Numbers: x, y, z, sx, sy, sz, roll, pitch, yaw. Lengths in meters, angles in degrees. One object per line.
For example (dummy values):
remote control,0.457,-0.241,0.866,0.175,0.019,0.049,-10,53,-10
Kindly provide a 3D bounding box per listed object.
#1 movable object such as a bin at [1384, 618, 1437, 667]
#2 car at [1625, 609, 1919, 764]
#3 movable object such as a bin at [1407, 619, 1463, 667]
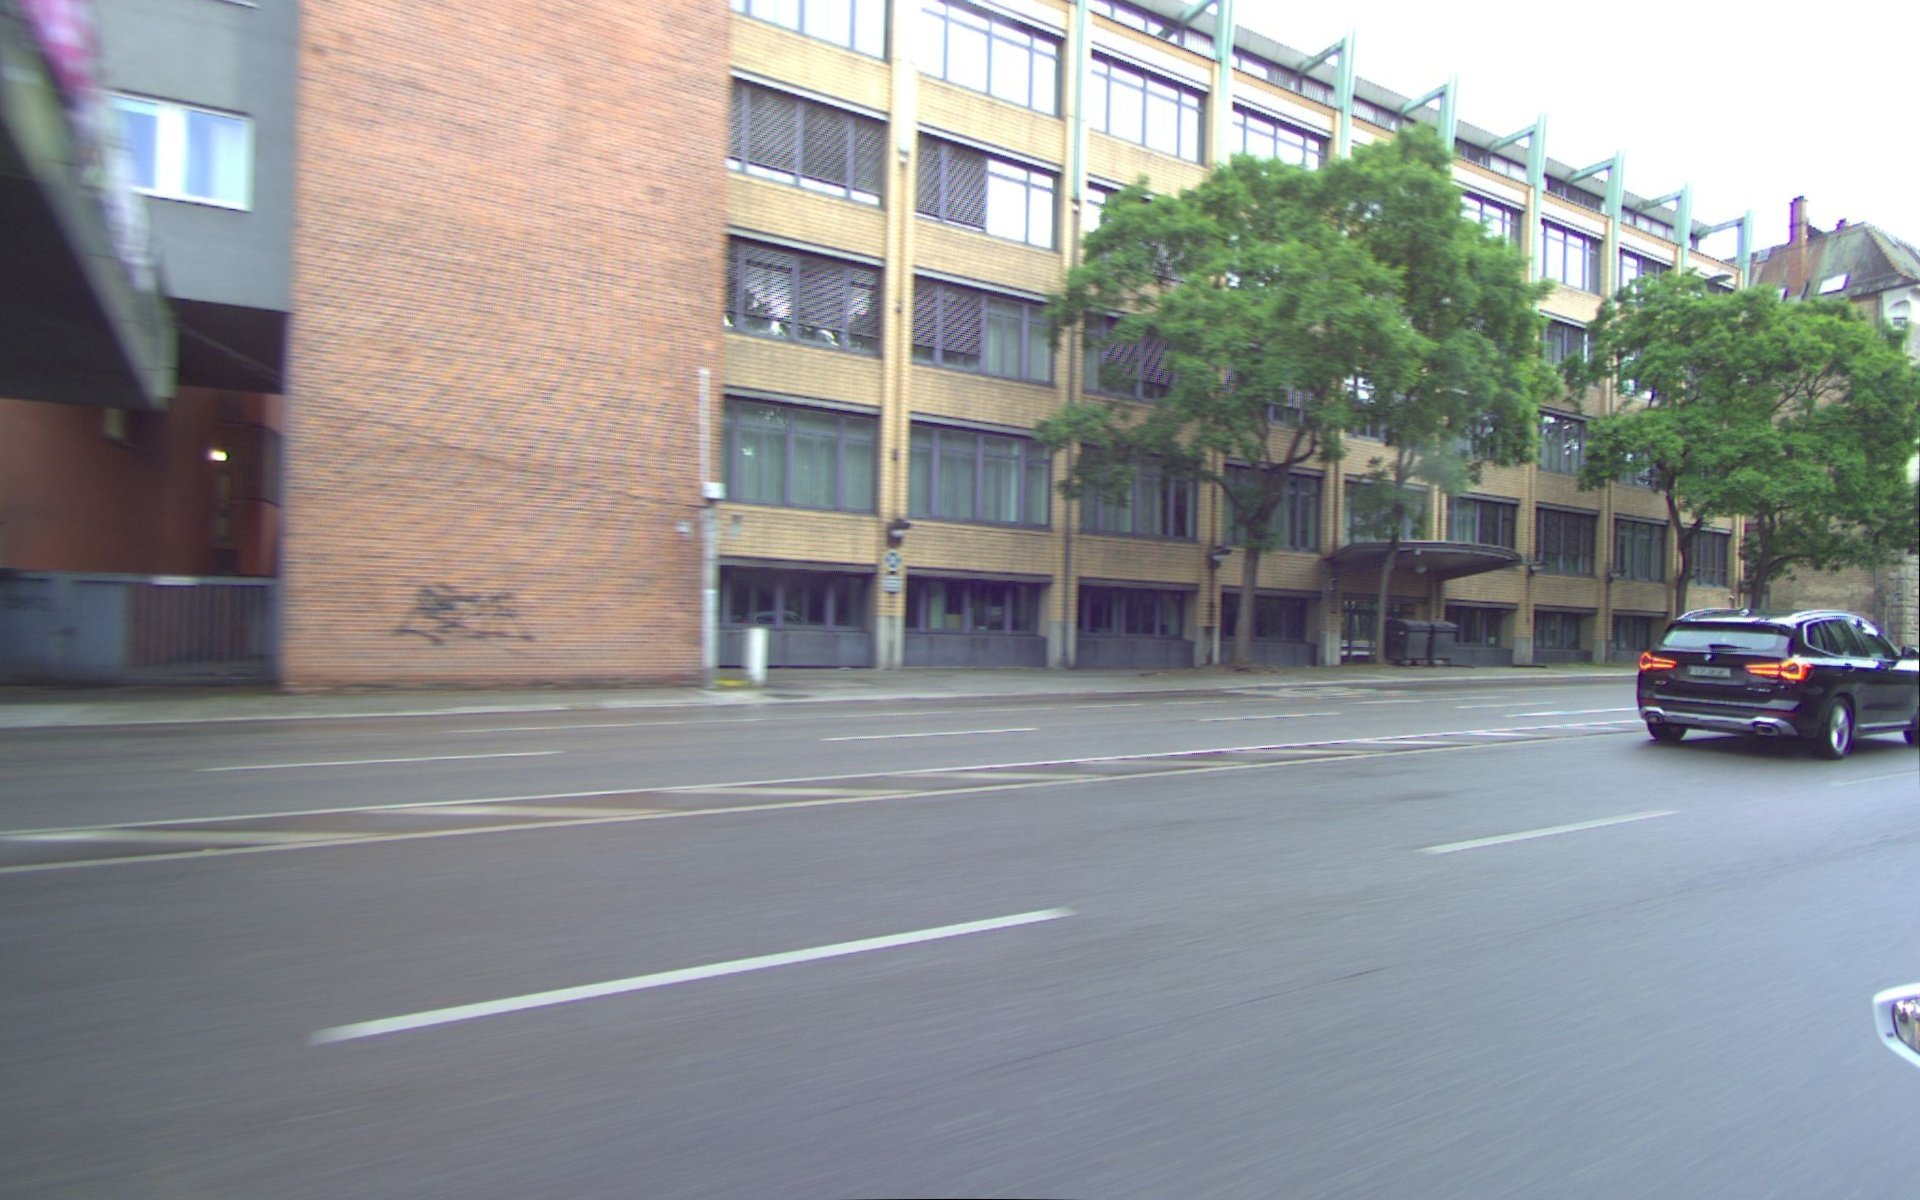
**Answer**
movable object such as a bin,14.086,1.319,31.402,1.301,1.455,0.967,1,1,-34
car,10.289,0.967,12.376,4.361,1.607,1.749,2,0,-30
movable object such as a bin,15.199,1.354,32.149,1.358,1.455,1.061,1,1,-34
